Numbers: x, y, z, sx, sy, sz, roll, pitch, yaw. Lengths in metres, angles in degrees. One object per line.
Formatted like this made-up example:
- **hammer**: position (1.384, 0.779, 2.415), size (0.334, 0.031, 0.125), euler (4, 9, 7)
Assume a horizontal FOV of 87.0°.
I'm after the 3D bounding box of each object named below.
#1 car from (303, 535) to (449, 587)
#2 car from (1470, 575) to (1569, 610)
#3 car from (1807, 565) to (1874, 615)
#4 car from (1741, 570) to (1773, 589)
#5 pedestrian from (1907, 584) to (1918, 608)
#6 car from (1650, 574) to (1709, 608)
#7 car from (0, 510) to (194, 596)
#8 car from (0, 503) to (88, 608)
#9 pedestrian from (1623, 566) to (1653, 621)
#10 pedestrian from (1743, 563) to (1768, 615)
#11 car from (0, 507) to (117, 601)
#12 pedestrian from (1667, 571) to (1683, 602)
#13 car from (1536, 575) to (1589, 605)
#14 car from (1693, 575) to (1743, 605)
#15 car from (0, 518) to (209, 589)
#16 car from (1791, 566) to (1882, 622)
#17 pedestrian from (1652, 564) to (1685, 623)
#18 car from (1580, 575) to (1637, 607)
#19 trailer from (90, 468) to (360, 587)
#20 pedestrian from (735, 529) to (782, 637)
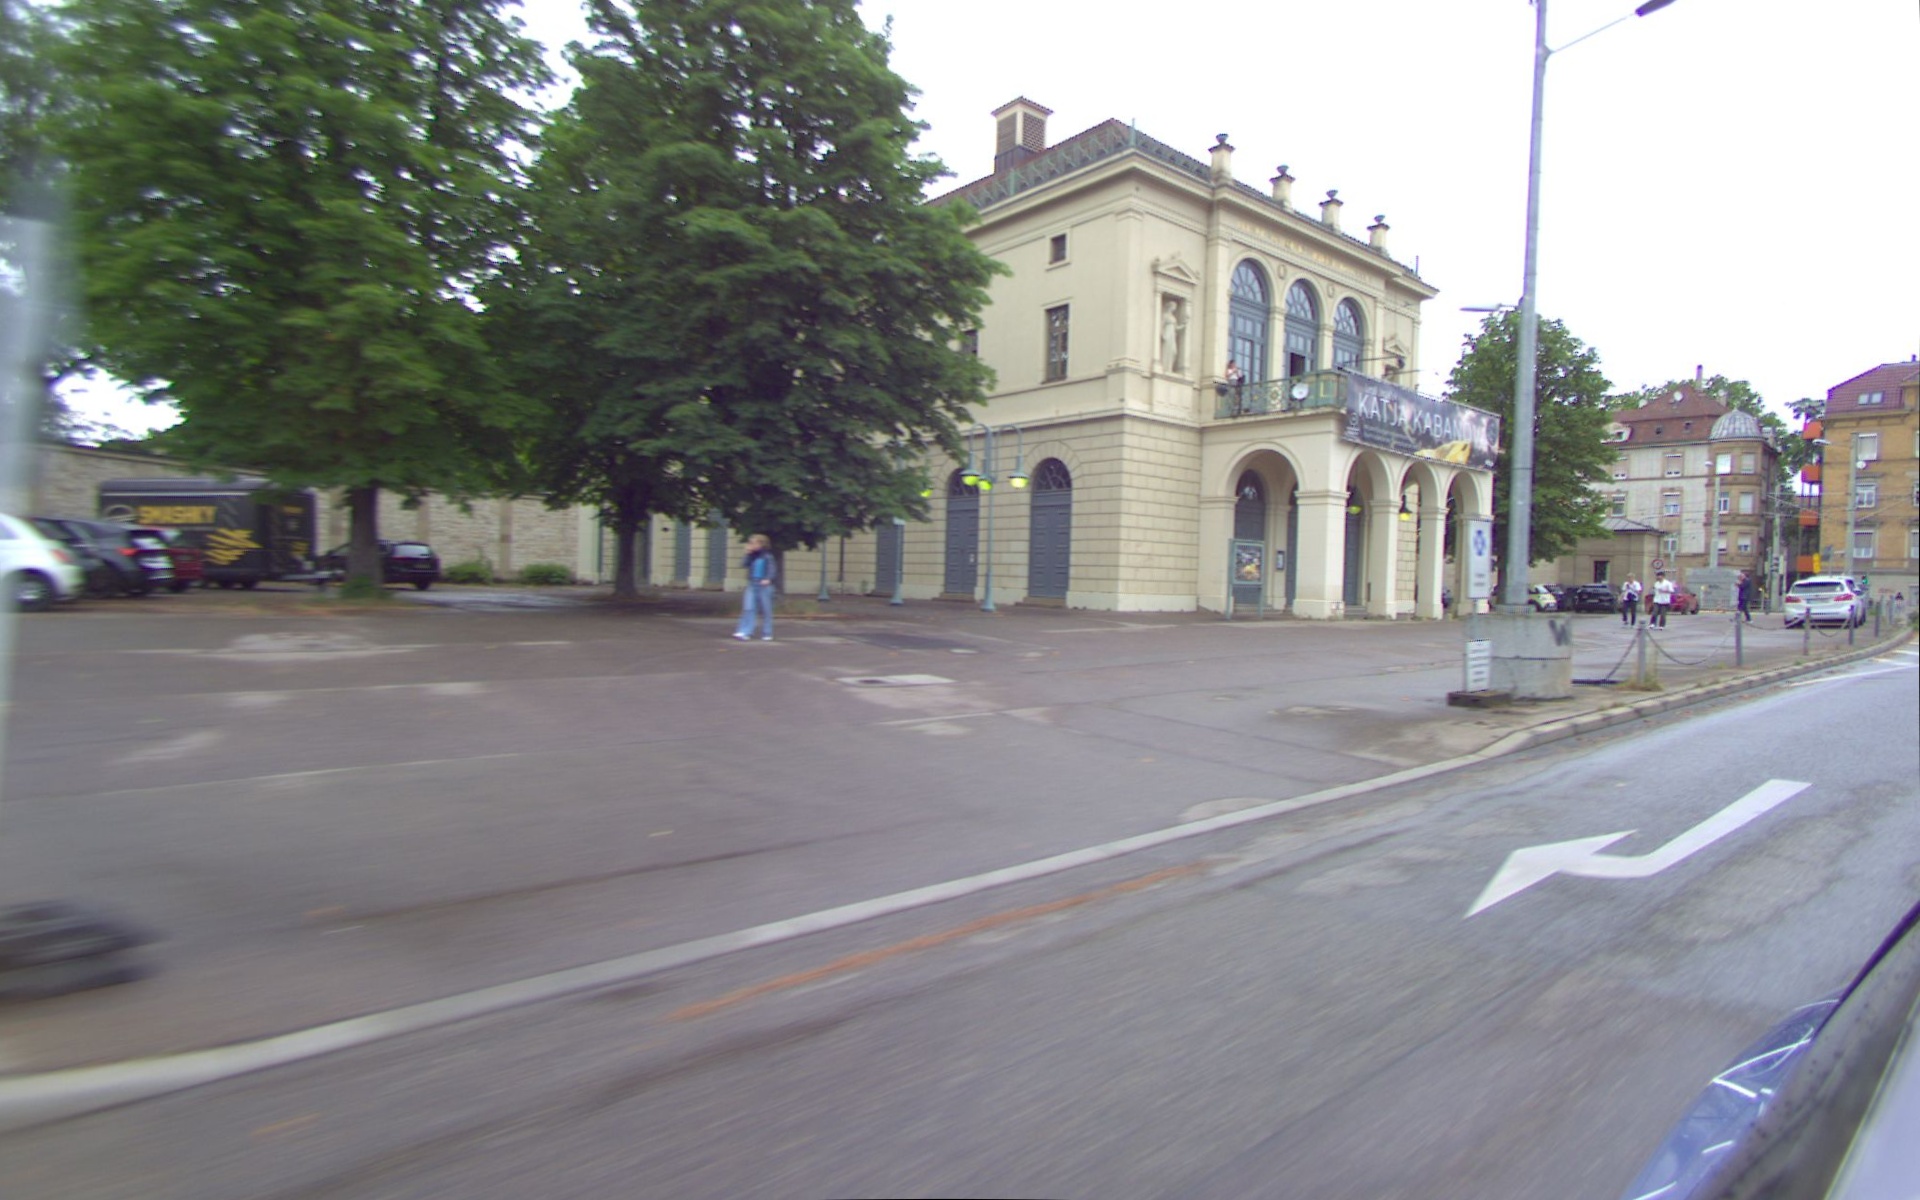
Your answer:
- **car**: position (-17.671, -1.192, 30.600), size (4.234, 1.425, 1.727), euler (2, 2, 25)
- **car**: position (26.678, -0.388, 48.358), size (1.697, 1.487, 3.745), euler (-1, 3, -37)
- **car**: position (32.069, -0.383, 36.889), size (1.714, 1.660, 4.082), euler (-2, 0, 41)
- **car**: position (70.234, -1.824, 89.198), size (1.826, 1.602, 3.937), euler (2, 3, 44)
- **pedestrian**: position (69.419, -0.300, 73.772), size (0.526, 1.674, 0.511), euler (-1, 2, -42)
- **car**: position (36.408, -0.497, 51.191), size (1.826, 1.602, 3.937), euler (2, 3, 44)
- **car**: position (-17.805, -0.935, 19.927), size (4.020, 1.546, 1.779), euler (1, 2, -5)
- **car**: position (-14.911, -0.703, 14.544), size (3.533, 1.473, 1.841), euler (2, 1, -40)
- **pedestrian**: position (21.026, -0.220, 31.387), size (0.627, 1.664, 0.768), euler (2, 3, 43)
- **pedestrian**: position (28.442, -0.414, 36.184), size (0.695, 1.829, 0.770), euler (0, 1, 41)
- **car**: position (-16.489, -0.769, 16.355), size (1.891, 1.507, 4.131), euler (3, 3, 38)
- **pedestrian**: position (41.614, -0.809, 58.899), size (0.697, 1.763, 0.453), euler (-1, 2, -29)
- **car**: position (33.515, -0.576, 56.281), size (1.677, 1.515, 3.938), euler (2, 3, 44)
- **car**: position (44.052, -0.635, 58.819), size (1.826, 1.602, 3.937), euler (2, 3, 44)
- **car**: position (-19.618, -1.050, 22.811), size (4.069, 1.460, 1.684), euler (1, 2, -5)
- **car**: position (28.253, -0.225, 32.576), size (4.076, 1.660, 1.839), euler (-2, 0, -44)
- **pedestrian**: position (21.211, -0.209, 30.287), size (0.825, 1.757, 0.595), euler (-2, 3, -42)
- **car**: position (34.476, -0.499, 53.756), size (1.859, 1.567, 4.003), euler (1, 2, 43)
- **trailer**: position (-19.039, -1.854, 26.391), size (5.549, 2.820, 2.148), euler (1, 2, 1)
- **pedestrian**: position (-3.129, -0.279, 15.672), size (0.654, 1.610, 0.868), euler (1, 3, -14)
